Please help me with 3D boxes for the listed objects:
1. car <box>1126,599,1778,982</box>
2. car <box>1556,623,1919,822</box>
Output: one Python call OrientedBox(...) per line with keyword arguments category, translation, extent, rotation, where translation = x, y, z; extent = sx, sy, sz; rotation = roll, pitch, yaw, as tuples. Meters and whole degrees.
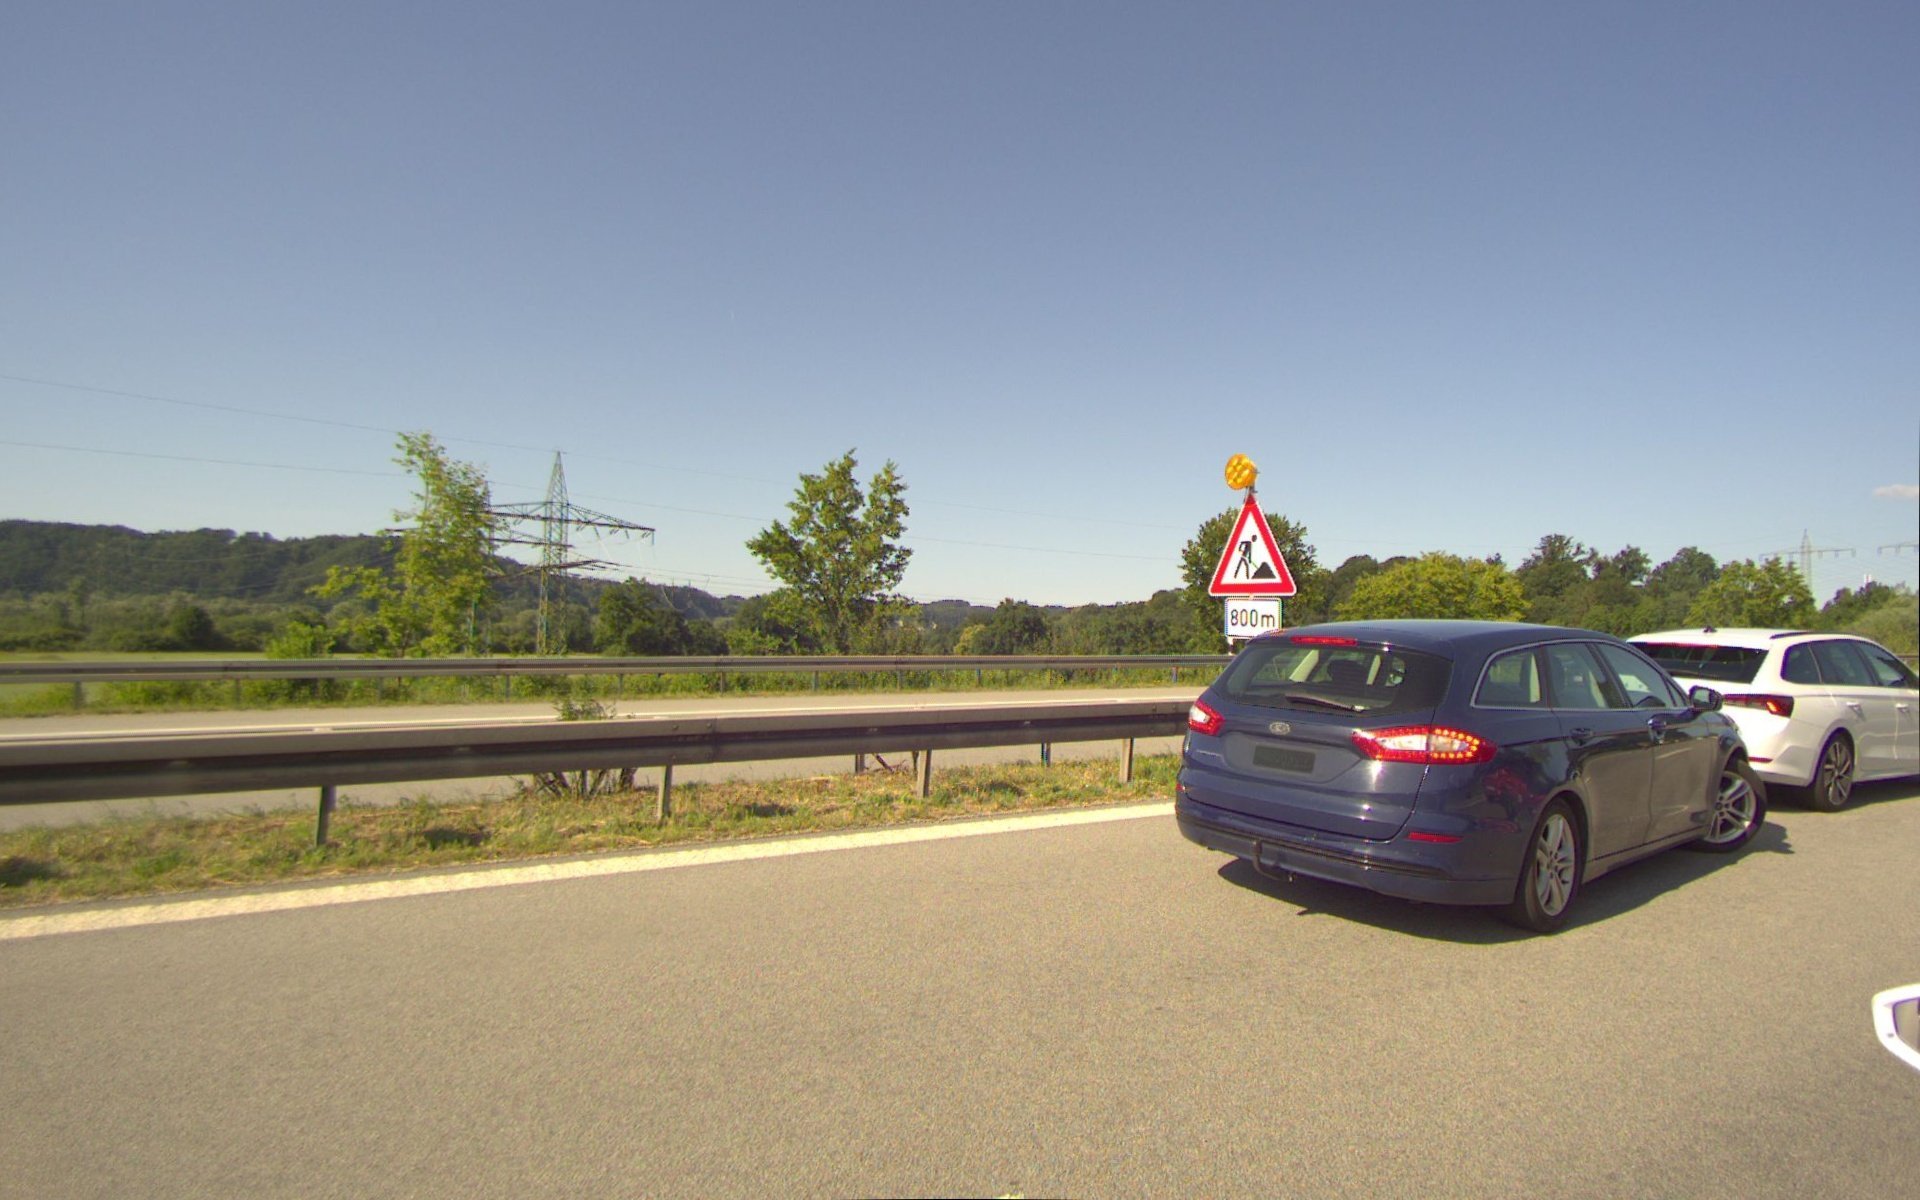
OrientedBox(category="car", translation=(3.185, 0.819, 6.059), extent=(4.453, 1.513, 1.775), rotation=(2, -2, -38))
OrientedBox(category="car", translation=(7.600, 0.990, 9.363), extent=(4.160, 1.461, 1.687), rotation=(2, 0, -30))
